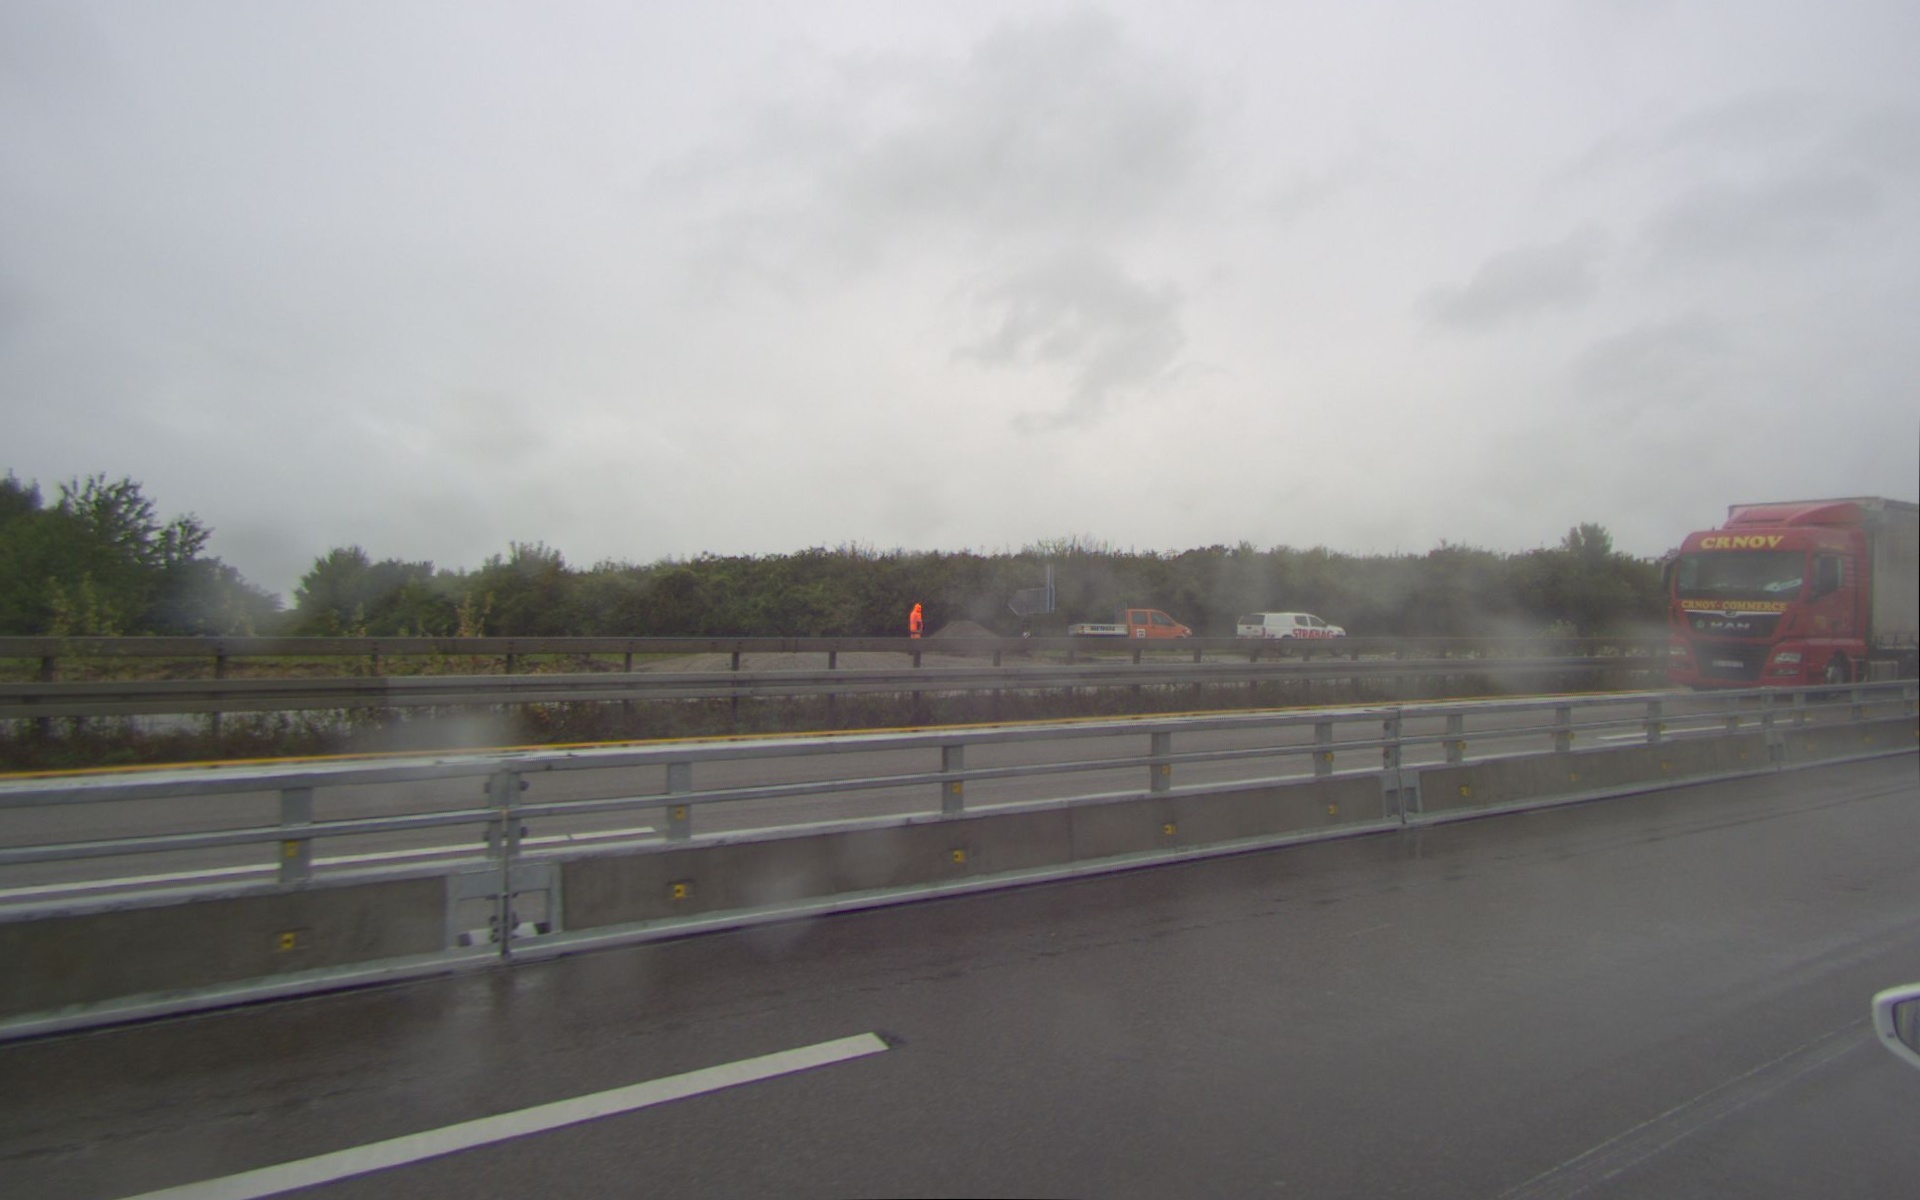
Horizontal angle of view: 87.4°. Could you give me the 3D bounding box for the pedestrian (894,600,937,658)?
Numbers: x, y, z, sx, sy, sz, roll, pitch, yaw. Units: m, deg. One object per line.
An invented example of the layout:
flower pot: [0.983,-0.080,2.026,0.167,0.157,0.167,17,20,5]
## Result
pedestrian: [-1.607,1.034,36.078,1.114,2.040,1.099,1,0,-32]

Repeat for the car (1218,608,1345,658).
car: [13.588,1.376,42.385,5.301,1.992,2.084,1,-1,-30]

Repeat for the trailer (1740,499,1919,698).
trailer: [23.456,0.085,24.474,11.783,4.061,2.601,1,0,-29]

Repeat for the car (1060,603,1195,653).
car: [7.388,1.242,44.635,5.476,2.103,2.367,1,-1,-8]

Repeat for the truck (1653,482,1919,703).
truck: [18.251,-0.065,21.553,7.197,4.102,2.631,2,0,-29]
